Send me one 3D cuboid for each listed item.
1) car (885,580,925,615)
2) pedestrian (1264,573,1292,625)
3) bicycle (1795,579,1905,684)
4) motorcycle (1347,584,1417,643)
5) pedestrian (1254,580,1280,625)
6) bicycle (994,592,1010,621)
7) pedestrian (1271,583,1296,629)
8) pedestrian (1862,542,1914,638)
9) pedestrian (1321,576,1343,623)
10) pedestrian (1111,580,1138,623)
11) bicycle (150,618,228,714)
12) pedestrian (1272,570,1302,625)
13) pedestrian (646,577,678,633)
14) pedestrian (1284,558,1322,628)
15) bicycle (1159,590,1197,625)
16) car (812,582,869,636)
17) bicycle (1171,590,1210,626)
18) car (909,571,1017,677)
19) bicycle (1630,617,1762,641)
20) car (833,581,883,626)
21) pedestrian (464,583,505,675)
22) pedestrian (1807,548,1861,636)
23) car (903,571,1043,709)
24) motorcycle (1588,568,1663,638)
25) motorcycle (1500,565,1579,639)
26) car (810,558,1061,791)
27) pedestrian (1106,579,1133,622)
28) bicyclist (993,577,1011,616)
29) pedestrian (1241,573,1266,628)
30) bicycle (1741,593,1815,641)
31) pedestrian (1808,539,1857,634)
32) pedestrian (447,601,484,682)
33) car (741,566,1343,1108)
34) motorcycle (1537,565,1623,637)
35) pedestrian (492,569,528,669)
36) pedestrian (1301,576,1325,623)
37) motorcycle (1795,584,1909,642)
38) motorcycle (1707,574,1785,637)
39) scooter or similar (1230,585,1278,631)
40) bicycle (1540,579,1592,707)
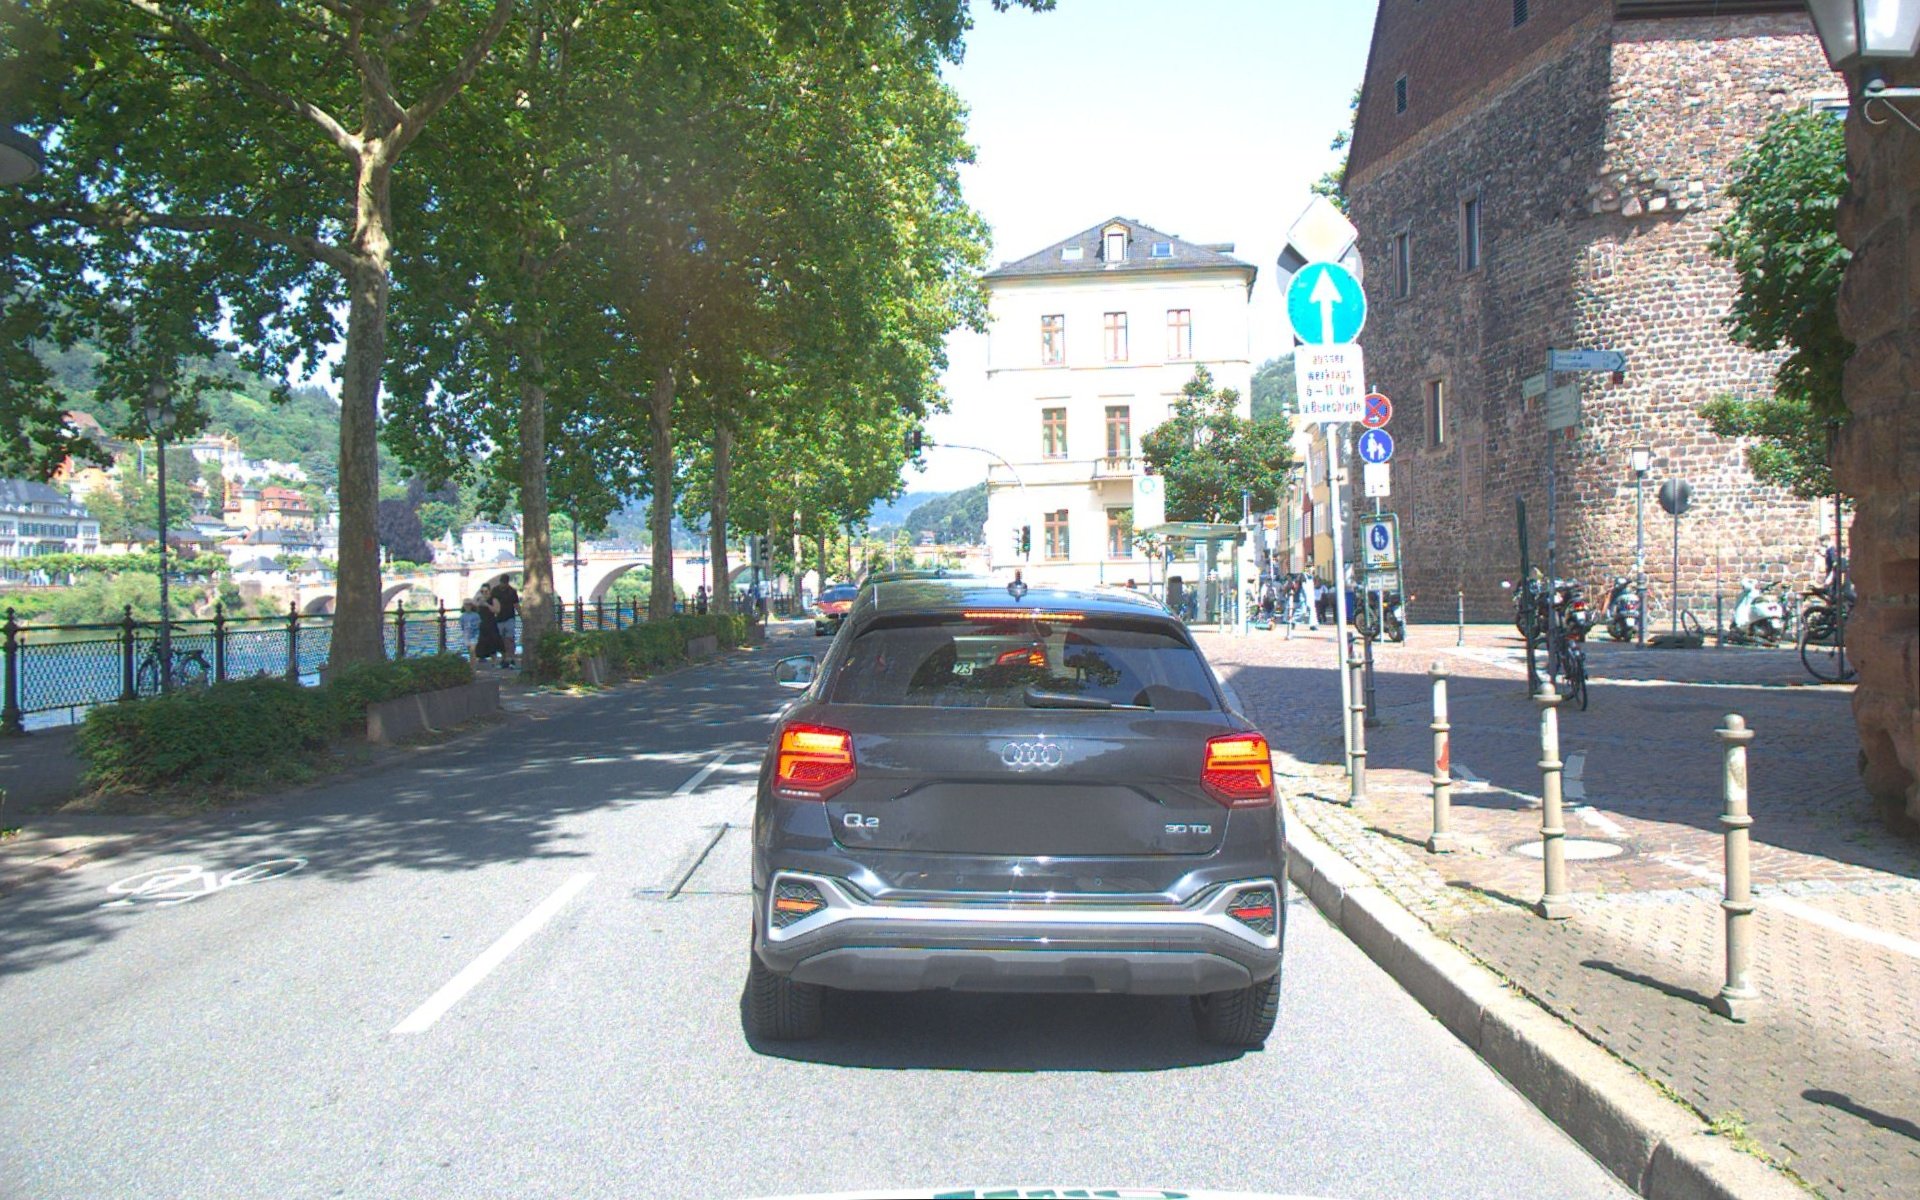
[{"bbox_3d":[-2.979,-0.106,90.461,1.952,1.838,4.000,1,0,1],"label":"car"},{"bbox_3d":[12.720,-0.044,66.233,0.921,2.049,0.807,1,-1,-2],"label":"pedestrian"},{"bbox_3d":[10.615,0.350,19.784,0.437,1.182,1.731,-1,1,3],"label":"bicycle"},{"bbox_3d":[7.693,0.225,30.244,0.555,1.030,2.489,-1,1,-2],"label":"motorcycle"},{"bbox_3d":[10.227,0.087,55.087,0.626,1.469,0.797,1,-1,-7],"label":"pedestrian"},{"bbox_3d":[1.577,0.246,62.536,0.428,1.105,1.675,1,0,-5],"label":"bicycle"},{"bbox_3d":[14.556,0.256,74.405,0.925,2.049,0.807,1,-1,-1],"label":"pedestrian"},{"bbox_3d":[18.955,-0.200,33.779,0.806,1.917,0.667,0,-1,41],"label":"pedestrian"},{"bbox_3d":[13.364,-0.021,59.449,0.676,1.640,0.892,-2,0,16],"label":"pedestrian"},{"bbox_3d":[4.793,0.033,48.205,0.651,1.233,0.640,1,-1,-7],"label":"pedestrian"},{"bbox_3d":[-9.532,0.796,20.470,0.352,1.110,1.295,2,0,-2],"label":"bicycle"},{"bbox_3d":[11.796,-0.088,59.630,0.746,1.923,0.738,-2,0,-44],"label":"pedestrian"},{"bbox_3d":[-9.866,0.176,54.820,0.891,1.843,0.586,1,-2,3],"label":"pedestrian"},{"bbox_3d":[8.480,-0.167,40.840,0.790,1.691,0.656,-1,-1,21],"label":"pedestrian"},{"bbox_3d":[6.549,0.219,49.708,1.166,1.033,0.178,1,-1,-20],"label":"bicycle"},{"bbox_3d":[-4.088,0.277,57.118,1.639,1.689,4.222,-3,0,-1],"label":"car"},{"bbox_3d":[6.839,0.229,49.098,1.184,1.053,0.178,1,-1,-20],"label":"bicycle"},{"bbox_3d":[0.020,0.376,29.136,1.758,1.711,3.999,1,0,-1],"label":"car"},{"bbox_3d":[12.278,0.488,27.657,1.887,0.388,0.918,0,-1,14],"label":"bicycle"},{"bbox_3d":[-4.237,0.127,69.205,1.733,1.688,4.000,-5,0,0],"label":"car"},{"bbox_3d":[-9.026,0.541,31.424,0.589,1.715,0.583,-1,0,-2],"label":"pedestrian"},{"bbox_3d":[18.592,-0.172,35.188,0.648,1.834,0.835,0,0,-40],"label":"pedestrian"},{"bbox_3d":[0.131,0.464,21.559,1.676,1.637,3.654,0,0,-1],"label":"car"},{"bbox_3d":[12.319,0.059,30.674,0.535,1.257,2.030,1,0,-1],"label":"motorcycle"},{"bbox_3d":[10.528,0.040,30.130,0.642,1.288,2.199,0,0,-1],"label":"motorcycle"},{"bbox_3d":[-0.195,0.518,13.451,1.756,1.623,3.398,1,0,-1],"label":"car"},{"bbox_3d":[4.712,0.009,48.962,0.651,1.253,0.640,1,-1,-7],"label":"pedestrian"},{"bbox_3d":[1.589,-0.124,62.603,0.593,1.475,0.590,1,-1,-6],"label":"bicyclist"},{"bbox_3d":[7.577,0.016,42.688,0.546,1.409,0.588,1,-1,1],"label":"pedestrian"},{"bbox_3d":[15.127,0.300,30.627,0.346,0.835,1.926,1,1,-2],"label":"bicycle"},{"bbox_3d":[19.014,-0.288,36.057,0.857,2.049,0.732,1,-1,23],"label":"pedestrian"},{"bbox_3d":[-8.625,0.713,28.829,0.469,1.386,0.417,-1,0,3],"label":"pedestrian"},{"bbox_3d":[0.212,0.664,6.583,1.707,1.535,3.646,1,1,-1],"label":"car"},{"bbox_3d":[11.367,0.021,30.391,0.661,1.257,2.312,1,0,-1],"label":"motorcycle"},{"bbox_3d":[-8.731,0.361,32.091,0.523,1.920,0.436,2,0,-1],"label":"pedestrian"},{"bbox_3d":[12.652,-0.017,59.297,0.595,1.647,0.710,-3,0,-1],"label":"pedestrian"},{"bbox_3d":[16.838,0.245,31.245,1.826,1.072,0.480,1,-1,7],"label":"motorcycle"},{"bbox_3d":[14.025,0.103,29.554,0.496,1.092,1.840,1,0,-1],"label":"motorcycle"},{"bbox_3d":[7.027,0.196,39.543,1.067,1.084,0.323,1,-1,-3],"label":"scooter or similar"},{"bbox_3d":[6.151,0.404,16.830,0.189,1.225,1.771,0,1,10],"label":"bicycle"}]
